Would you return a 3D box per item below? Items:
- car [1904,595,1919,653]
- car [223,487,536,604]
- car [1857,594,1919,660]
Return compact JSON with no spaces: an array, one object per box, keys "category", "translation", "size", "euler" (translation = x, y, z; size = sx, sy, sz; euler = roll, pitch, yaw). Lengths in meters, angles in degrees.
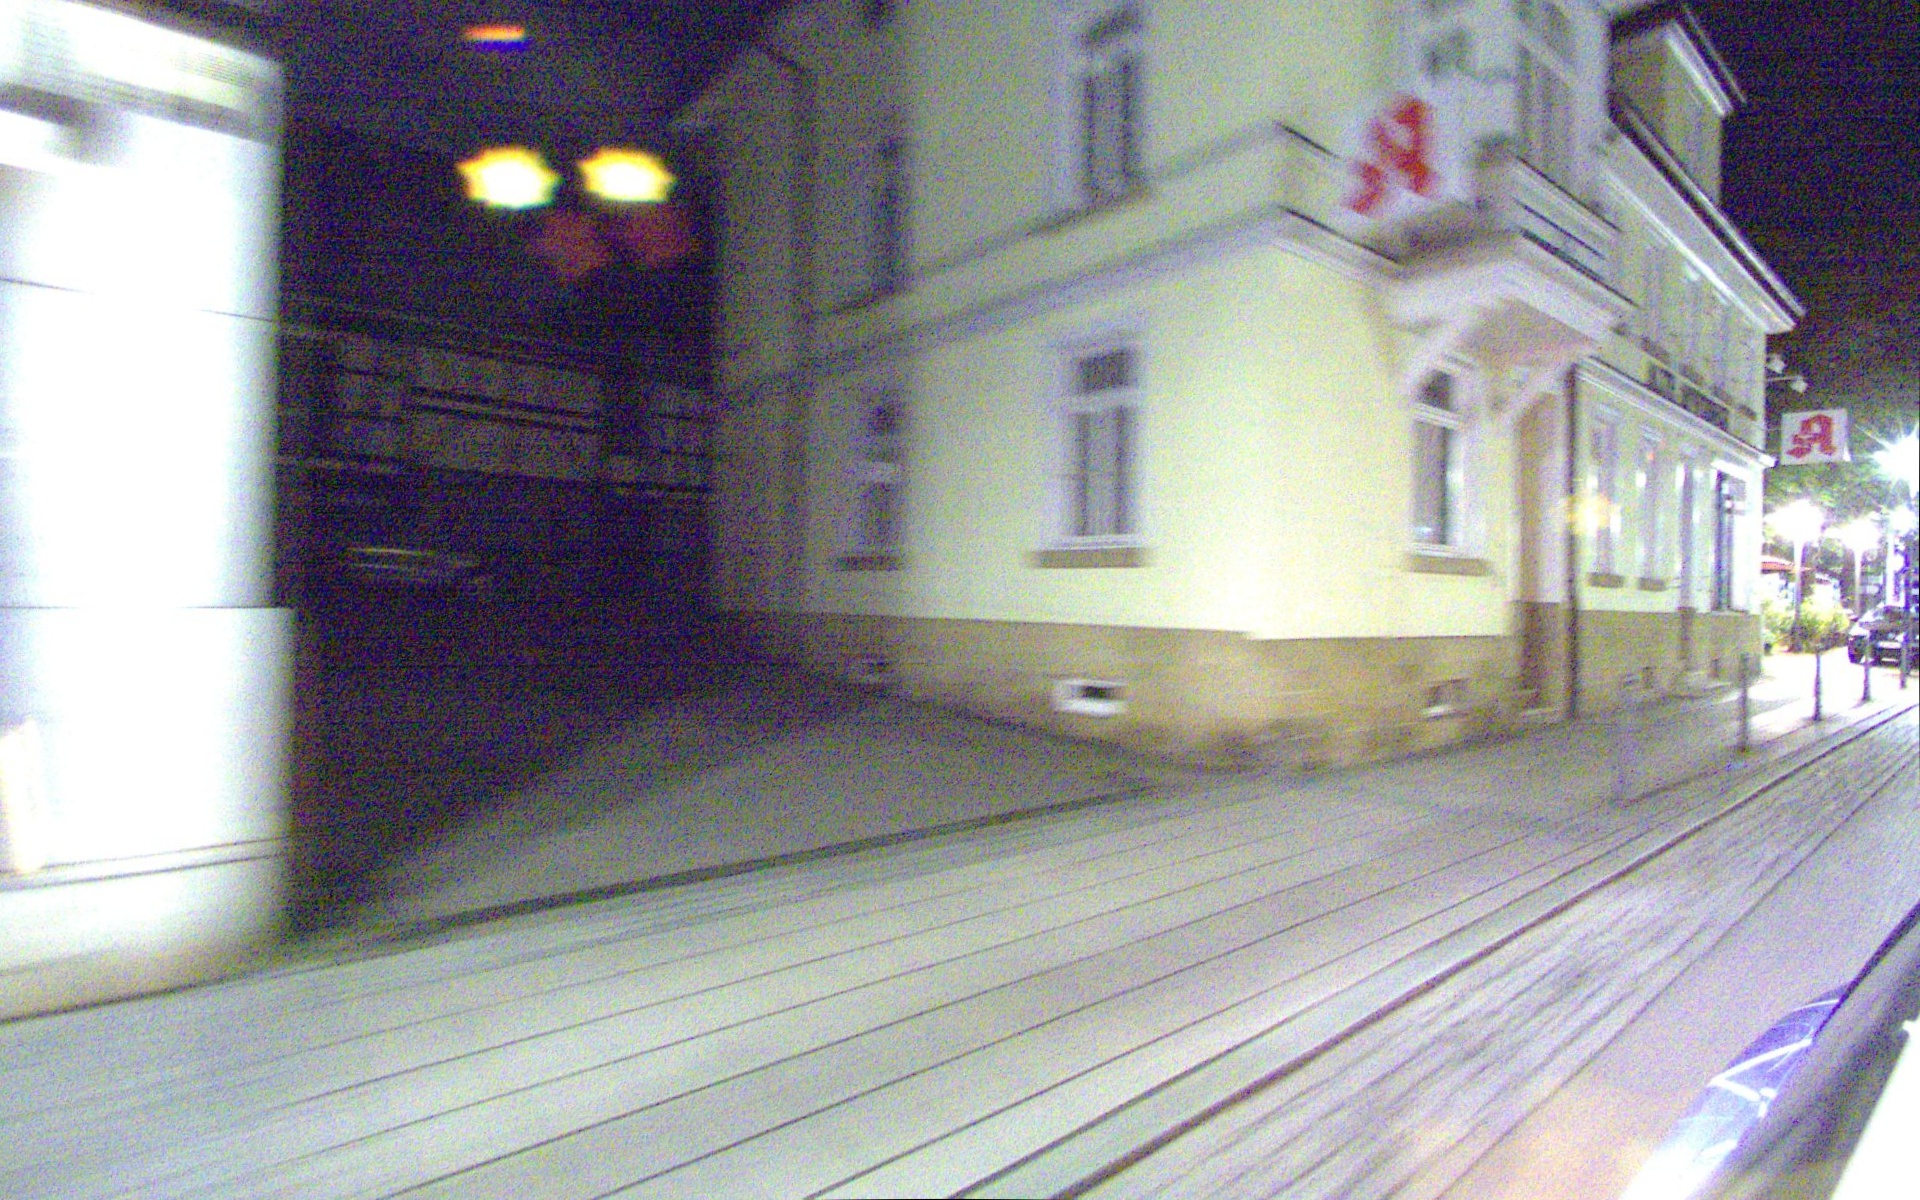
[{"category":"car","translation":[26.547,0.648,26.638],"size":[4.384,1.482,1.758],"euler":[0,3,-38]},{"category":"car","translation":[-10.145,-0.917,17.857],"size":[4.505,1.728,1.867],"euler":[2,4,-39]},{"category":"car","translation":[22.397,0.611,23.438],"size":[4.028,1.394,1.666],"euler":[0,3,-38]}]
